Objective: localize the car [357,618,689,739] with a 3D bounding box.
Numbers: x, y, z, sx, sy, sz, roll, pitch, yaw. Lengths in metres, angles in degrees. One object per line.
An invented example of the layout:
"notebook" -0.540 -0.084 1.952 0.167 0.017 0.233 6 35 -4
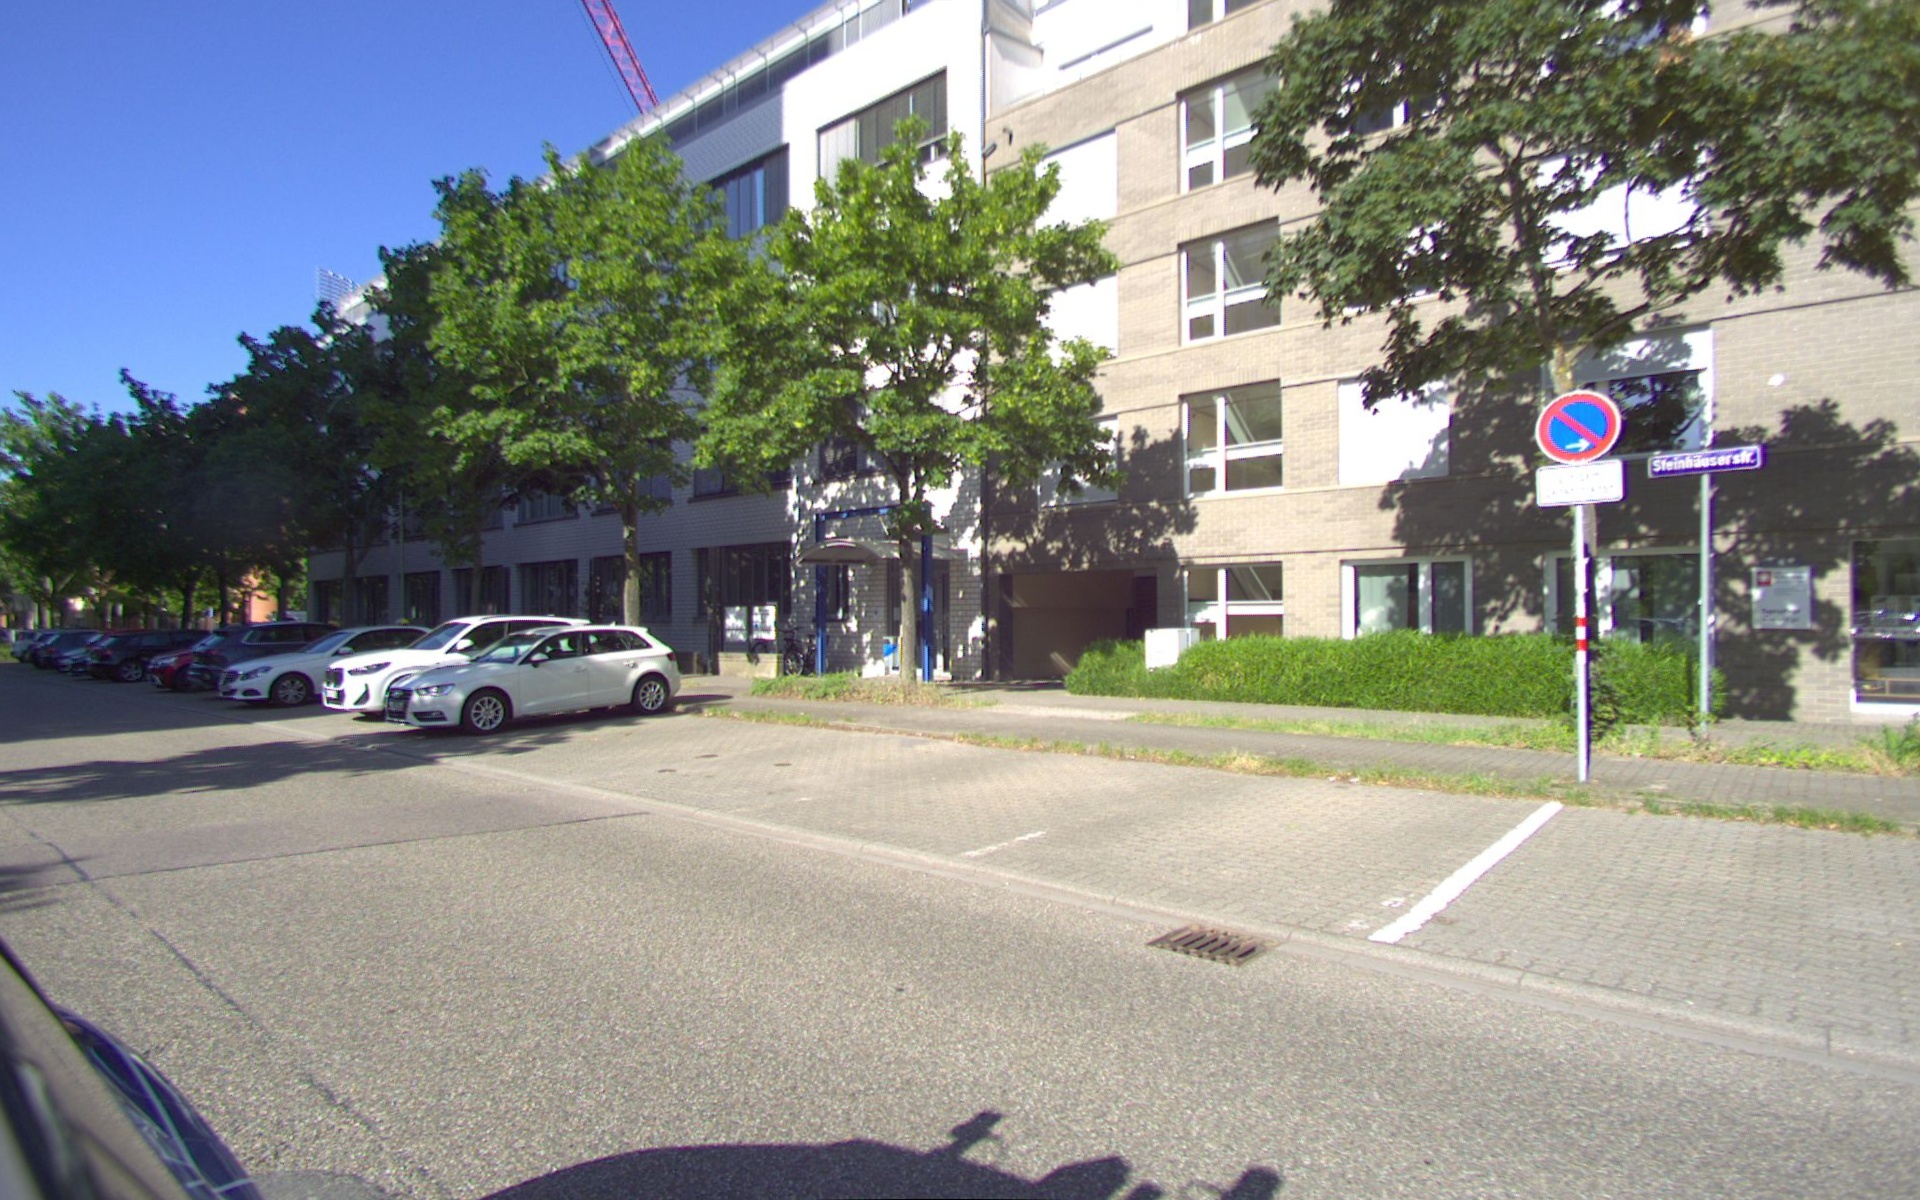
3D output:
"car" -6.368 1.051 15.134 1.799 1.491 4.215 -2 -1 40

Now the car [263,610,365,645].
"car" -42.074 1.768 66.036 1.930 2.114 5.263 -1 -1 38

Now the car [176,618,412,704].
"car" -14.740 1.283 22.547 1.803 1.632 4.069 -2 0 42

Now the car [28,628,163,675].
"car" -31.280 1.840 36.691 1.645 1.517 3.494 -1 -1 39

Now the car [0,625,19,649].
"car" -67.832 2.598 69.074 1.953 1.637 5.184 -1 -1 42

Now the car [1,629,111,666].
"car" -41.590 2.145 46.607 1.616 1.519 3.585 -1 -1 39

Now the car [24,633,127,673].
"car" -34.718 2.048 39.770 1.388 1.454 2.895 -1 -1 40

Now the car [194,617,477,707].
"car" -12.455 1.168 20.453 1.938 1.462 4.468 -2 0 36

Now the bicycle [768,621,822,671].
"bicycle" -4.051 1.099 24.730 1.627 1.184 0.334 -1 -1 41

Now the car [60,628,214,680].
"car" -25.646 1.636 31.607 1.656 1.447 3.494 -1 -1 39

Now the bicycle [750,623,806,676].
"bicycle" -4.272 1.139 23.698 1.627 1.184 0.334 -1 -1 41

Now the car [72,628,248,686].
"car" -23.521 1.651 29.845 1.686 1.424 3.784 -3 -1 39

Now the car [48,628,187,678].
"car" -29.254 1.788 35.209 1.656 1.541 3.483 -1 -1 39

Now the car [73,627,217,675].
"car" -27.357 1.668 34.061 1.655 1.456 3.497 -1 0 37

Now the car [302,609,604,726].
"car" -8.511 1.019 17.281 1.952 1.614 4.181 0 1 41

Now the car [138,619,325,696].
"car" -18.105 1.369 25.237 1.655 1.681 3.533 -2 0 43
